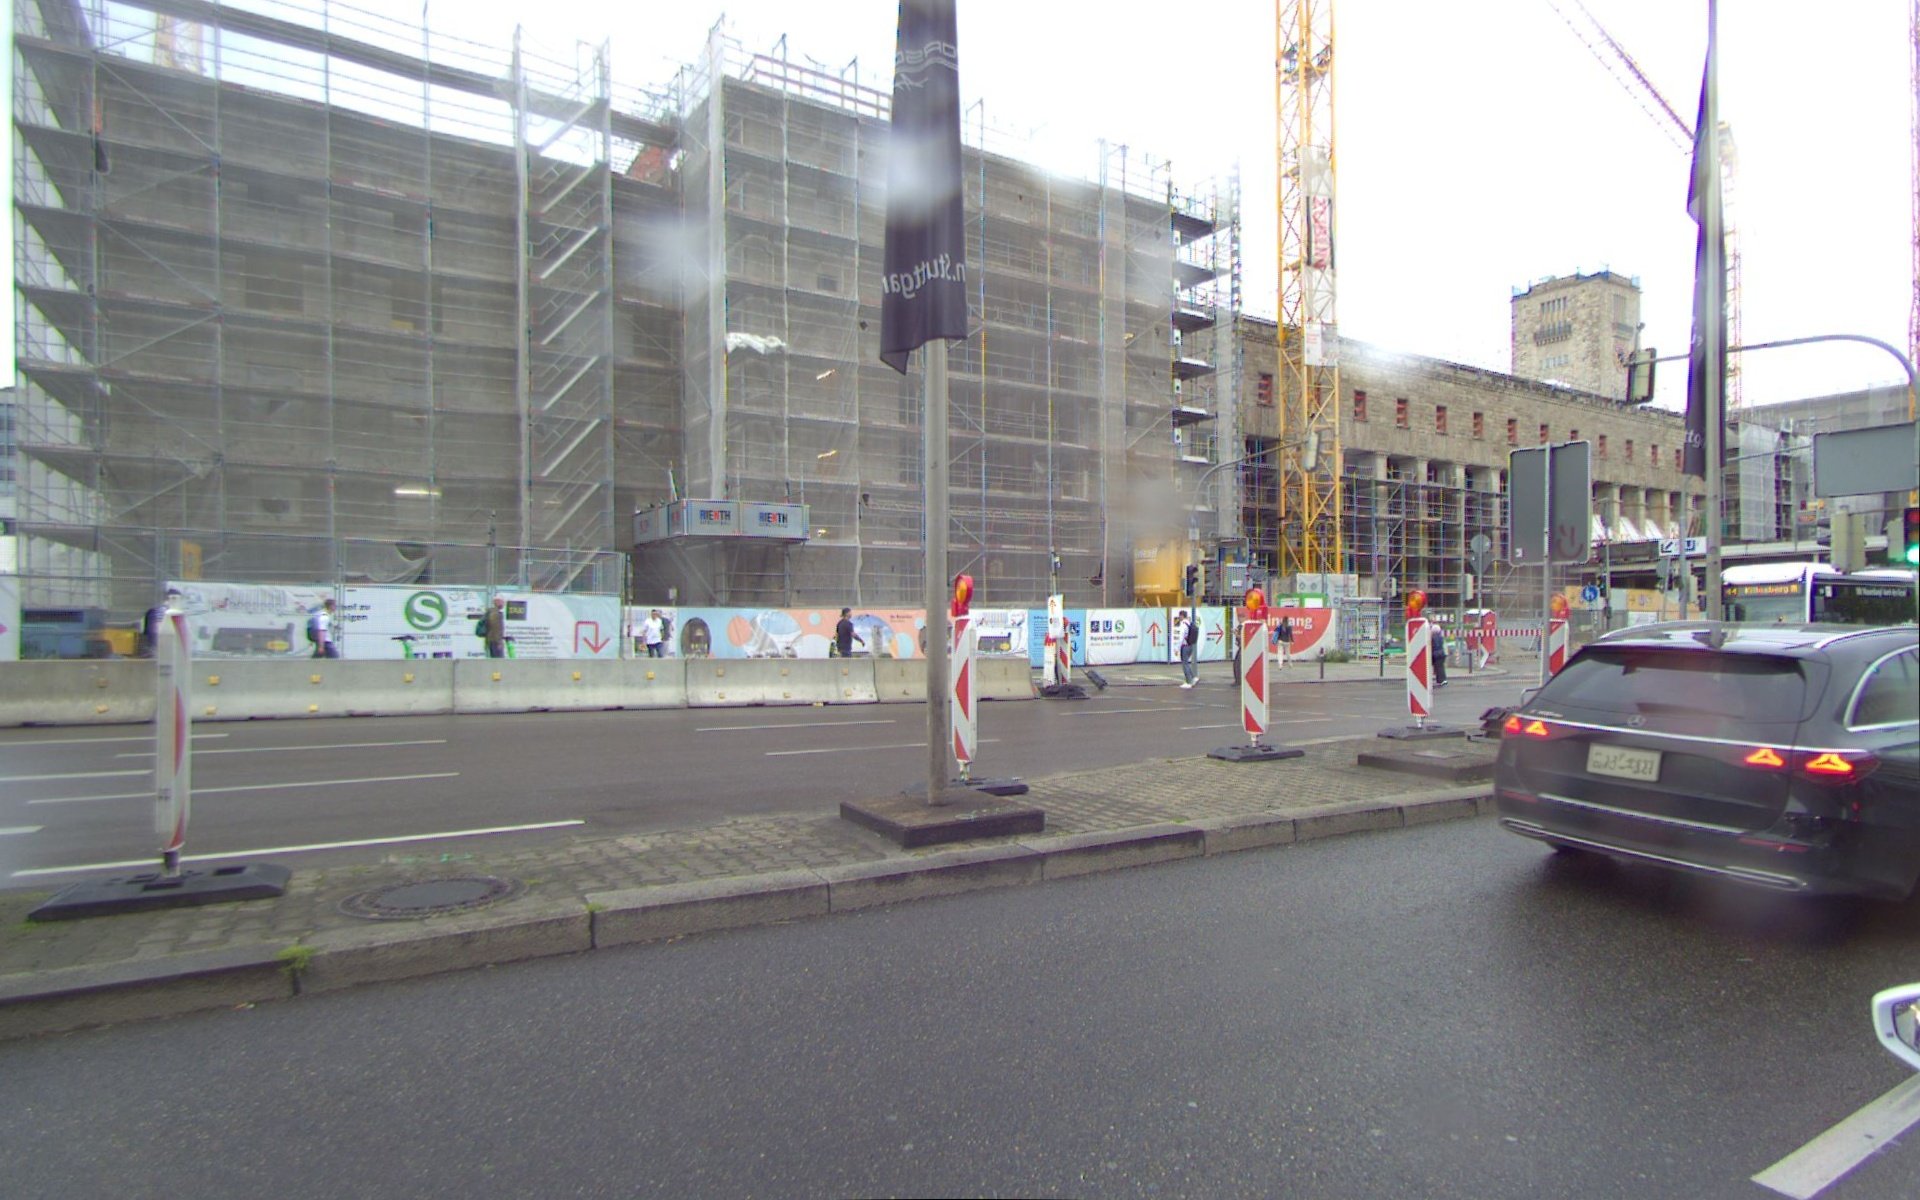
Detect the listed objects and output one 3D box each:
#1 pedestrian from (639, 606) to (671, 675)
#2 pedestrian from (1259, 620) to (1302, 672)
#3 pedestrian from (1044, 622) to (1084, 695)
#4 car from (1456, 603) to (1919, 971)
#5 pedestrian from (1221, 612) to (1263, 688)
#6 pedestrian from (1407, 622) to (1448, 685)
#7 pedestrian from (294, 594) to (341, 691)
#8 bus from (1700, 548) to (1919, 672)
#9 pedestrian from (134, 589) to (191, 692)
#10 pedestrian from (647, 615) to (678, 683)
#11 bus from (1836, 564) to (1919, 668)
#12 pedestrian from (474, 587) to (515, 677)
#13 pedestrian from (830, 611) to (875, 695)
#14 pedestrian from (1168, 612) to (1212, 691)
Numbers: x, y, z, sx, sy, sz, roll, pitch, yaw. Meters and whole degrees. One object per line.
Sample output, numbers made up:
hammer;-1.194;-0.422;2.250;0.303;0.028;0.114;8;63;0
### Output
pedestrian;-8.294;1.097;27.293;0.709;1.860;0.478;1;0;-30
pedestrian;10.096;1.436;31.653;0.890;1.584;0.909;1;0;-33
pedestrian;2.548;1.421;24.599;0.613;1.740;0.794;1;-2;-33
car;5.262;0.832;6.095;4.533;1.489;1.846;2;0;-30
pedestrian;7.062;1.235;25.174;0.810;1.860;0.575;1;0;-30
pedestrian;12.233;1.381;26.314;0.771;1.581;0.876;2;0;14
pedestrian;-12.632;0.822;19.754;0.709;1.860;0.478;1;0;-30
bus;28.497;0.412;33.233;10.119;3.650;2.655;2;0;-30
pedestrian;-14.849;0.743;18.717;0.709;1.860;0.583;1;0;-30
pedestrian;-8.405;1.379;28.406;0.709;1.860;0.478;1;0;-30
bus;37.295;0.674;38.393;10.092;3.650;2.655;2;0;-30
pedestrian;-9.802;0.664;21.148;0.709;1.860;0.478;1;0;-30
pedestrian;-2.440;1.184;22.701;0.810;1.860;0.575;1;0;-30
pedestrian;5.696;1.260;24.882;0.614;1.915;0.793;1;0;-38
